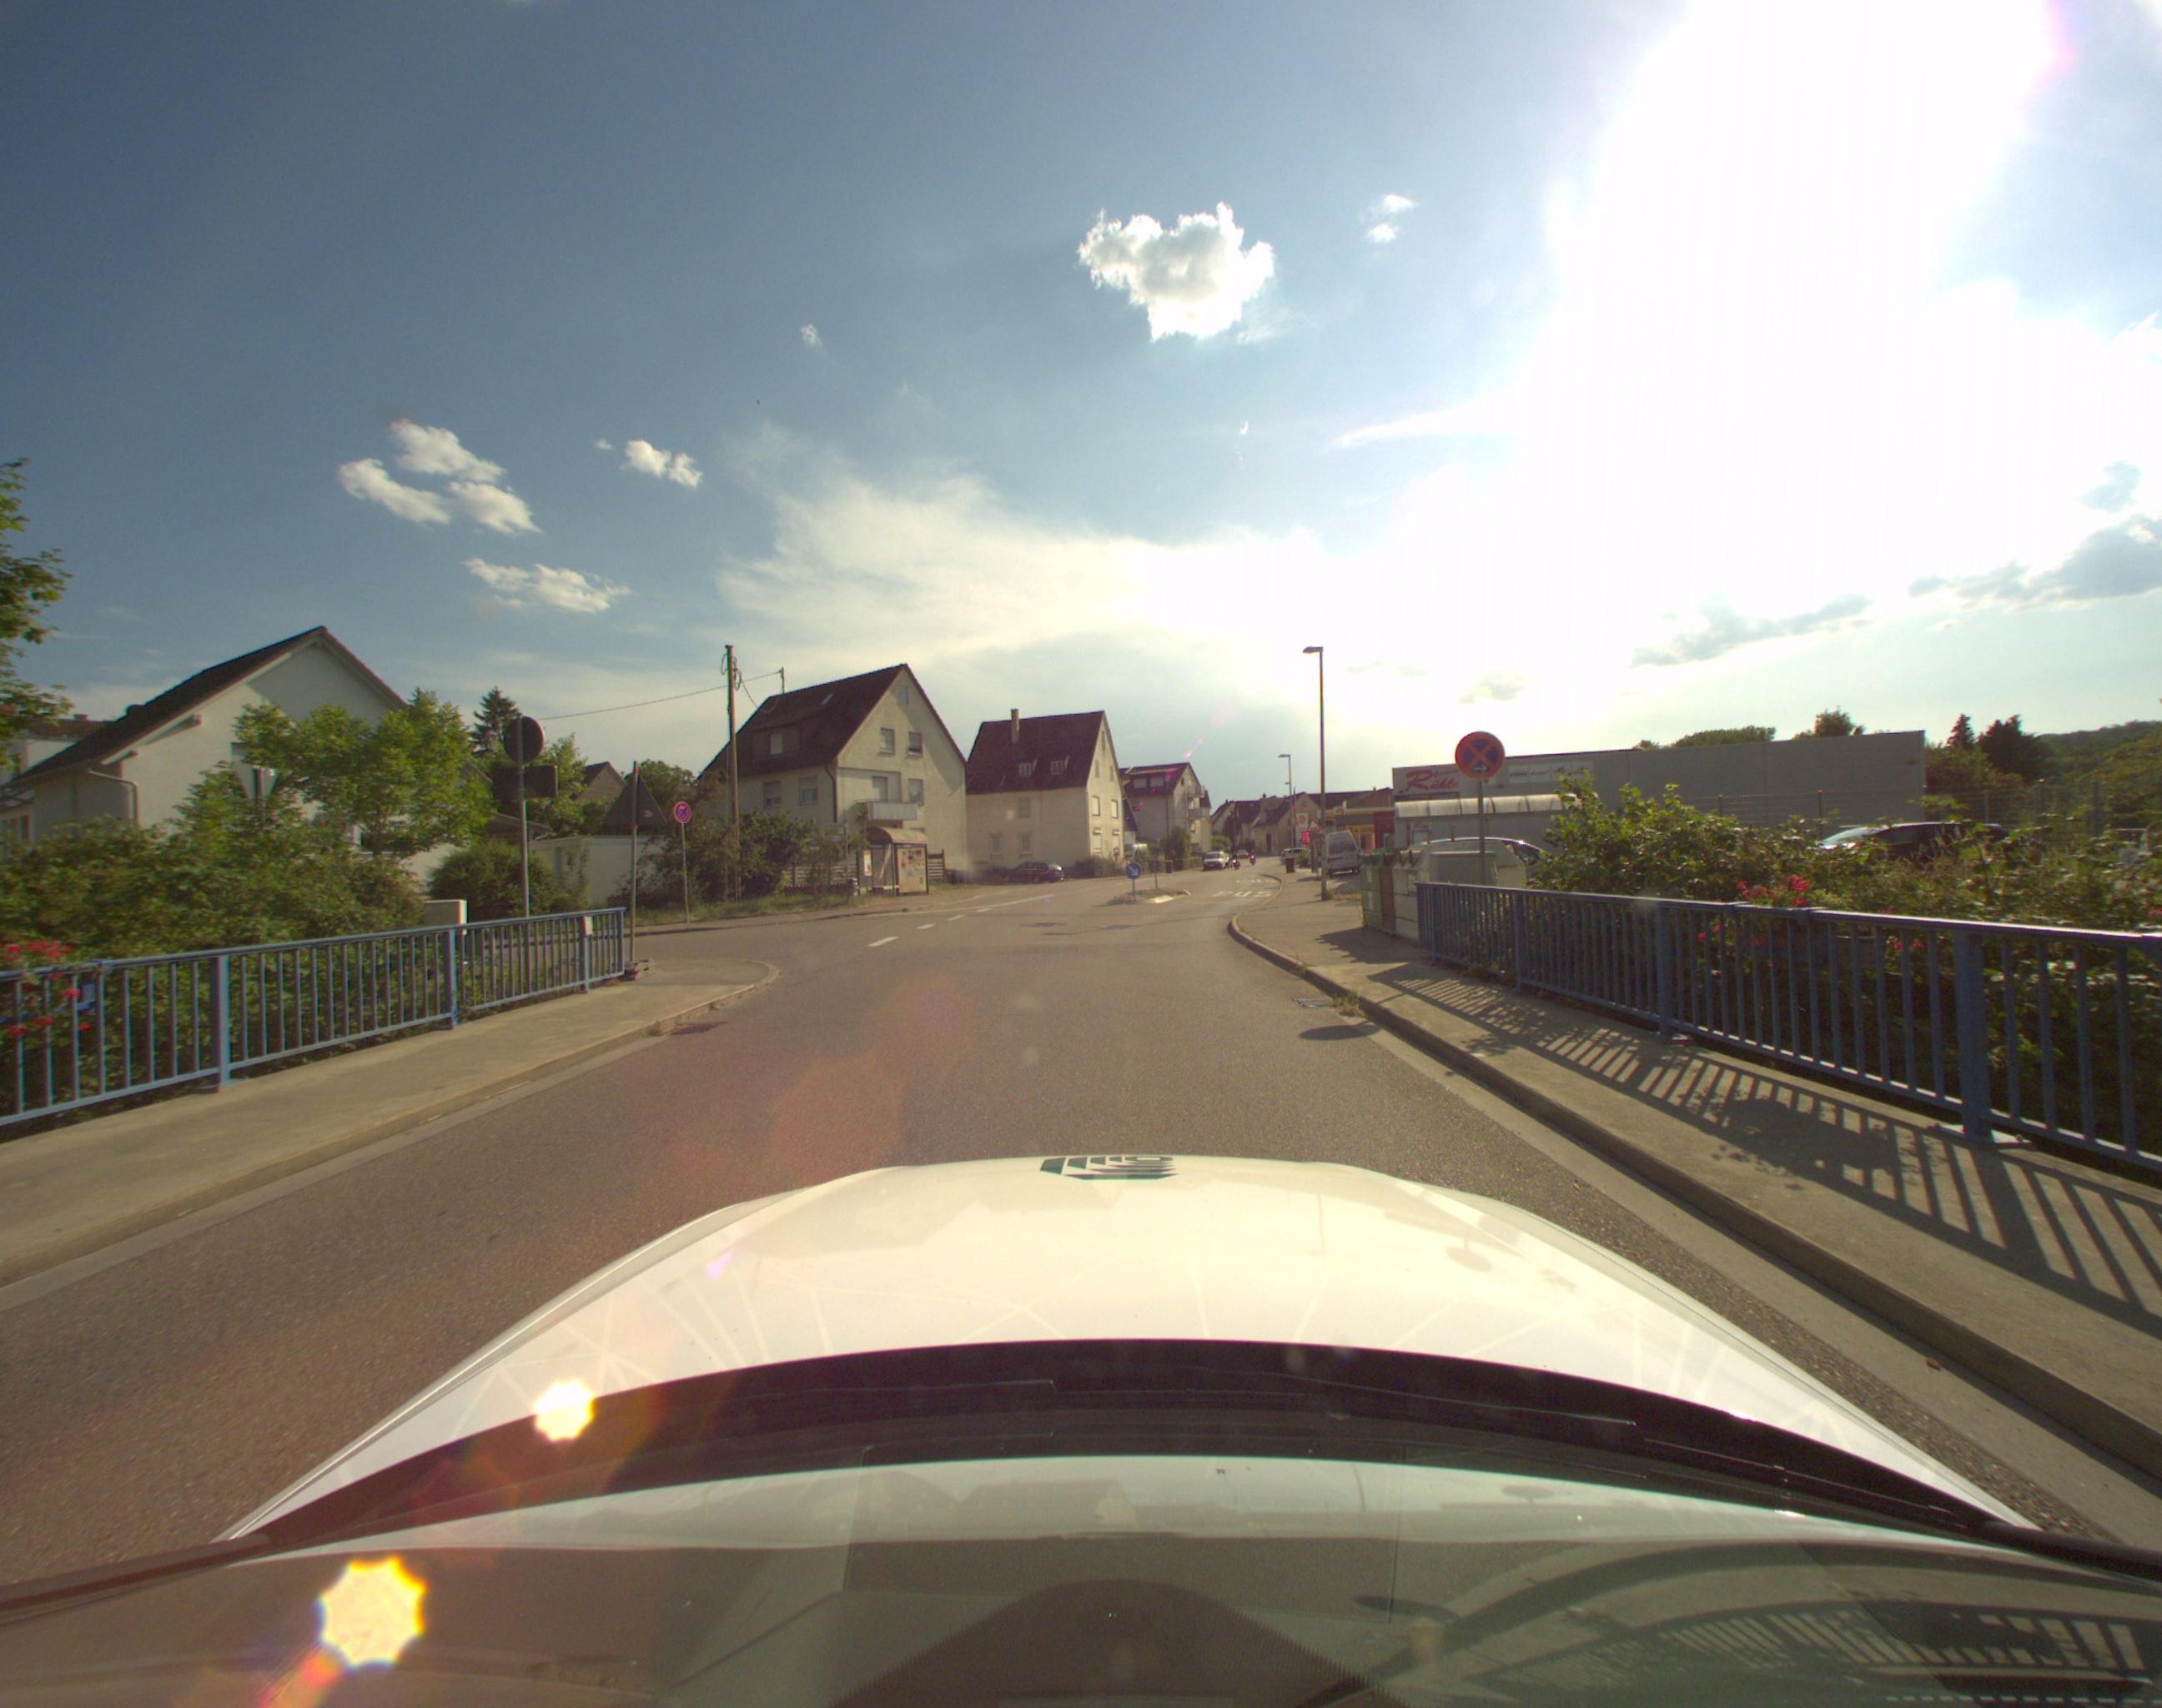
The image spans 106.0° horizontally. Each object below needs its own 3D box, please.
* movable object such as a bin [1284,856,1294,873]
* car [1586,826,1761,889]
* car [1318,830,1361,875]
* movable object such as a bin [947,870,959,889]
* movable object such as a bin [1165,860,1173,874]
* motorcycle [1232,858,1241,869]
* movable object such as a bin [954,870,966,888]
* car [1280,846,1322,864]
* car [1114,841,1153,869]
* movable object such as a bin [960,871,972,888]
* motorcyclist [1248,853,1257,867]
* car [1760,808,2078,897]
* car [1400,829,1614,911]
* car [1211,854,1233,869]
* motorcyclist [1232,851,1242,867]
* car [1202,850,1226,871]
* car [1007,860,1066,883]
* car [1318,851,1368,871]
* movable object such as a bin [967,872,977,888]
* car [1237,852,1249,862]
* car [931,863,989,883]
[{"bbox_3d":[14.138,0.723,55.364,0.563,1.075,0.575,-3,-1,11],"label":"movable object such as a bin"},{"bbox_3d":[15.655,0.119,21.714,3.408,1.417,1.506,-4,-2,20],"label":"car"},{"bbox_3d":[14.834,-0.082,46.965,1.824,2.375,5.196,-3,-1,12],"label":"car"},{"bbox_3d":[-7.250,1.440,46.034,0.357,1.016,0.561,-3,-2,32],"label":"movable object such as a bin"},{"bbox_3d":[7.395,1.088,68.294,0.606,1.101,0.578,-1,-1,16],"label":"movable object such as a bin"},{"bbox_3d":[14.530,0.904,75.889,0.534,1.012,2.037,0,-1,18],"label":"motorcycle"},{"bbox_3d":[-6.920,1.437,46.499,0.357,1.041,0.561,-3,-2,32],"label":"movable object such as a bin"},{"bbox_3d":[21.912,0.076,81.080,3.957,1.608,2.008,-2,0,15],"label":"car"},{"bbox_3d":[5.352,0.075,81.879,2.140,2.596,6.125,-1,0,21],"label":"car"},{"bbox_3d":[-6.662,1.471,47.064,0.357,1.023,0.580,-3,-2,32],"label":"movable object such as a bin"},{"bbox_3d":[18.668,0.649,88.676,0.796,1.436,1.041,-1,0,17],"label":"motorcyclist"},{"bbox_3d":[15.899,0.013,15.716,3.909,1.449,1.690,-3,-2,16],"label":"car"},{"bbox_3d":[9.284,0.374,18.109,3.909,1.603,1.690,-3,-2,16],"label":"car"},{"bbox_3d":[14.440,0.756,83.096,1.659,1.451,3.851,-3,-1,17],"label":"car"},{"bbox_3d":[14.540,0.455,75.872,0.730,1.527,1.021,1,-1,18],"label":"motorcyclist"},{"bbox_3d":[12.788,0.621,78.153,1.703,1.872,4.210,-3,-1,17],"label":"car"},{"bbox_3d":[-3.016,1.156,54.826,3.950,1.433,1.663,-1,0,43],"label":"car"},{"bbox_3d":[22.059,0.612,68.695,3.957,1.531,1.534,-3,-1,15],"label":"car"},{"bbox_3d":[-6.357,1.490,47.518,0.357,0.925,0.402,-3,-2,32],"label":"movable object such as a bin"},{"bbox_3d":[25.204,0.463,126.704,1.698,1.435,3.790,-4,-1,9],"label":"car"},{"bbox_3d":[-8.495,1.315,57.026,3.948,1.361,1.697,-1,0,38],"label":"car"}]
